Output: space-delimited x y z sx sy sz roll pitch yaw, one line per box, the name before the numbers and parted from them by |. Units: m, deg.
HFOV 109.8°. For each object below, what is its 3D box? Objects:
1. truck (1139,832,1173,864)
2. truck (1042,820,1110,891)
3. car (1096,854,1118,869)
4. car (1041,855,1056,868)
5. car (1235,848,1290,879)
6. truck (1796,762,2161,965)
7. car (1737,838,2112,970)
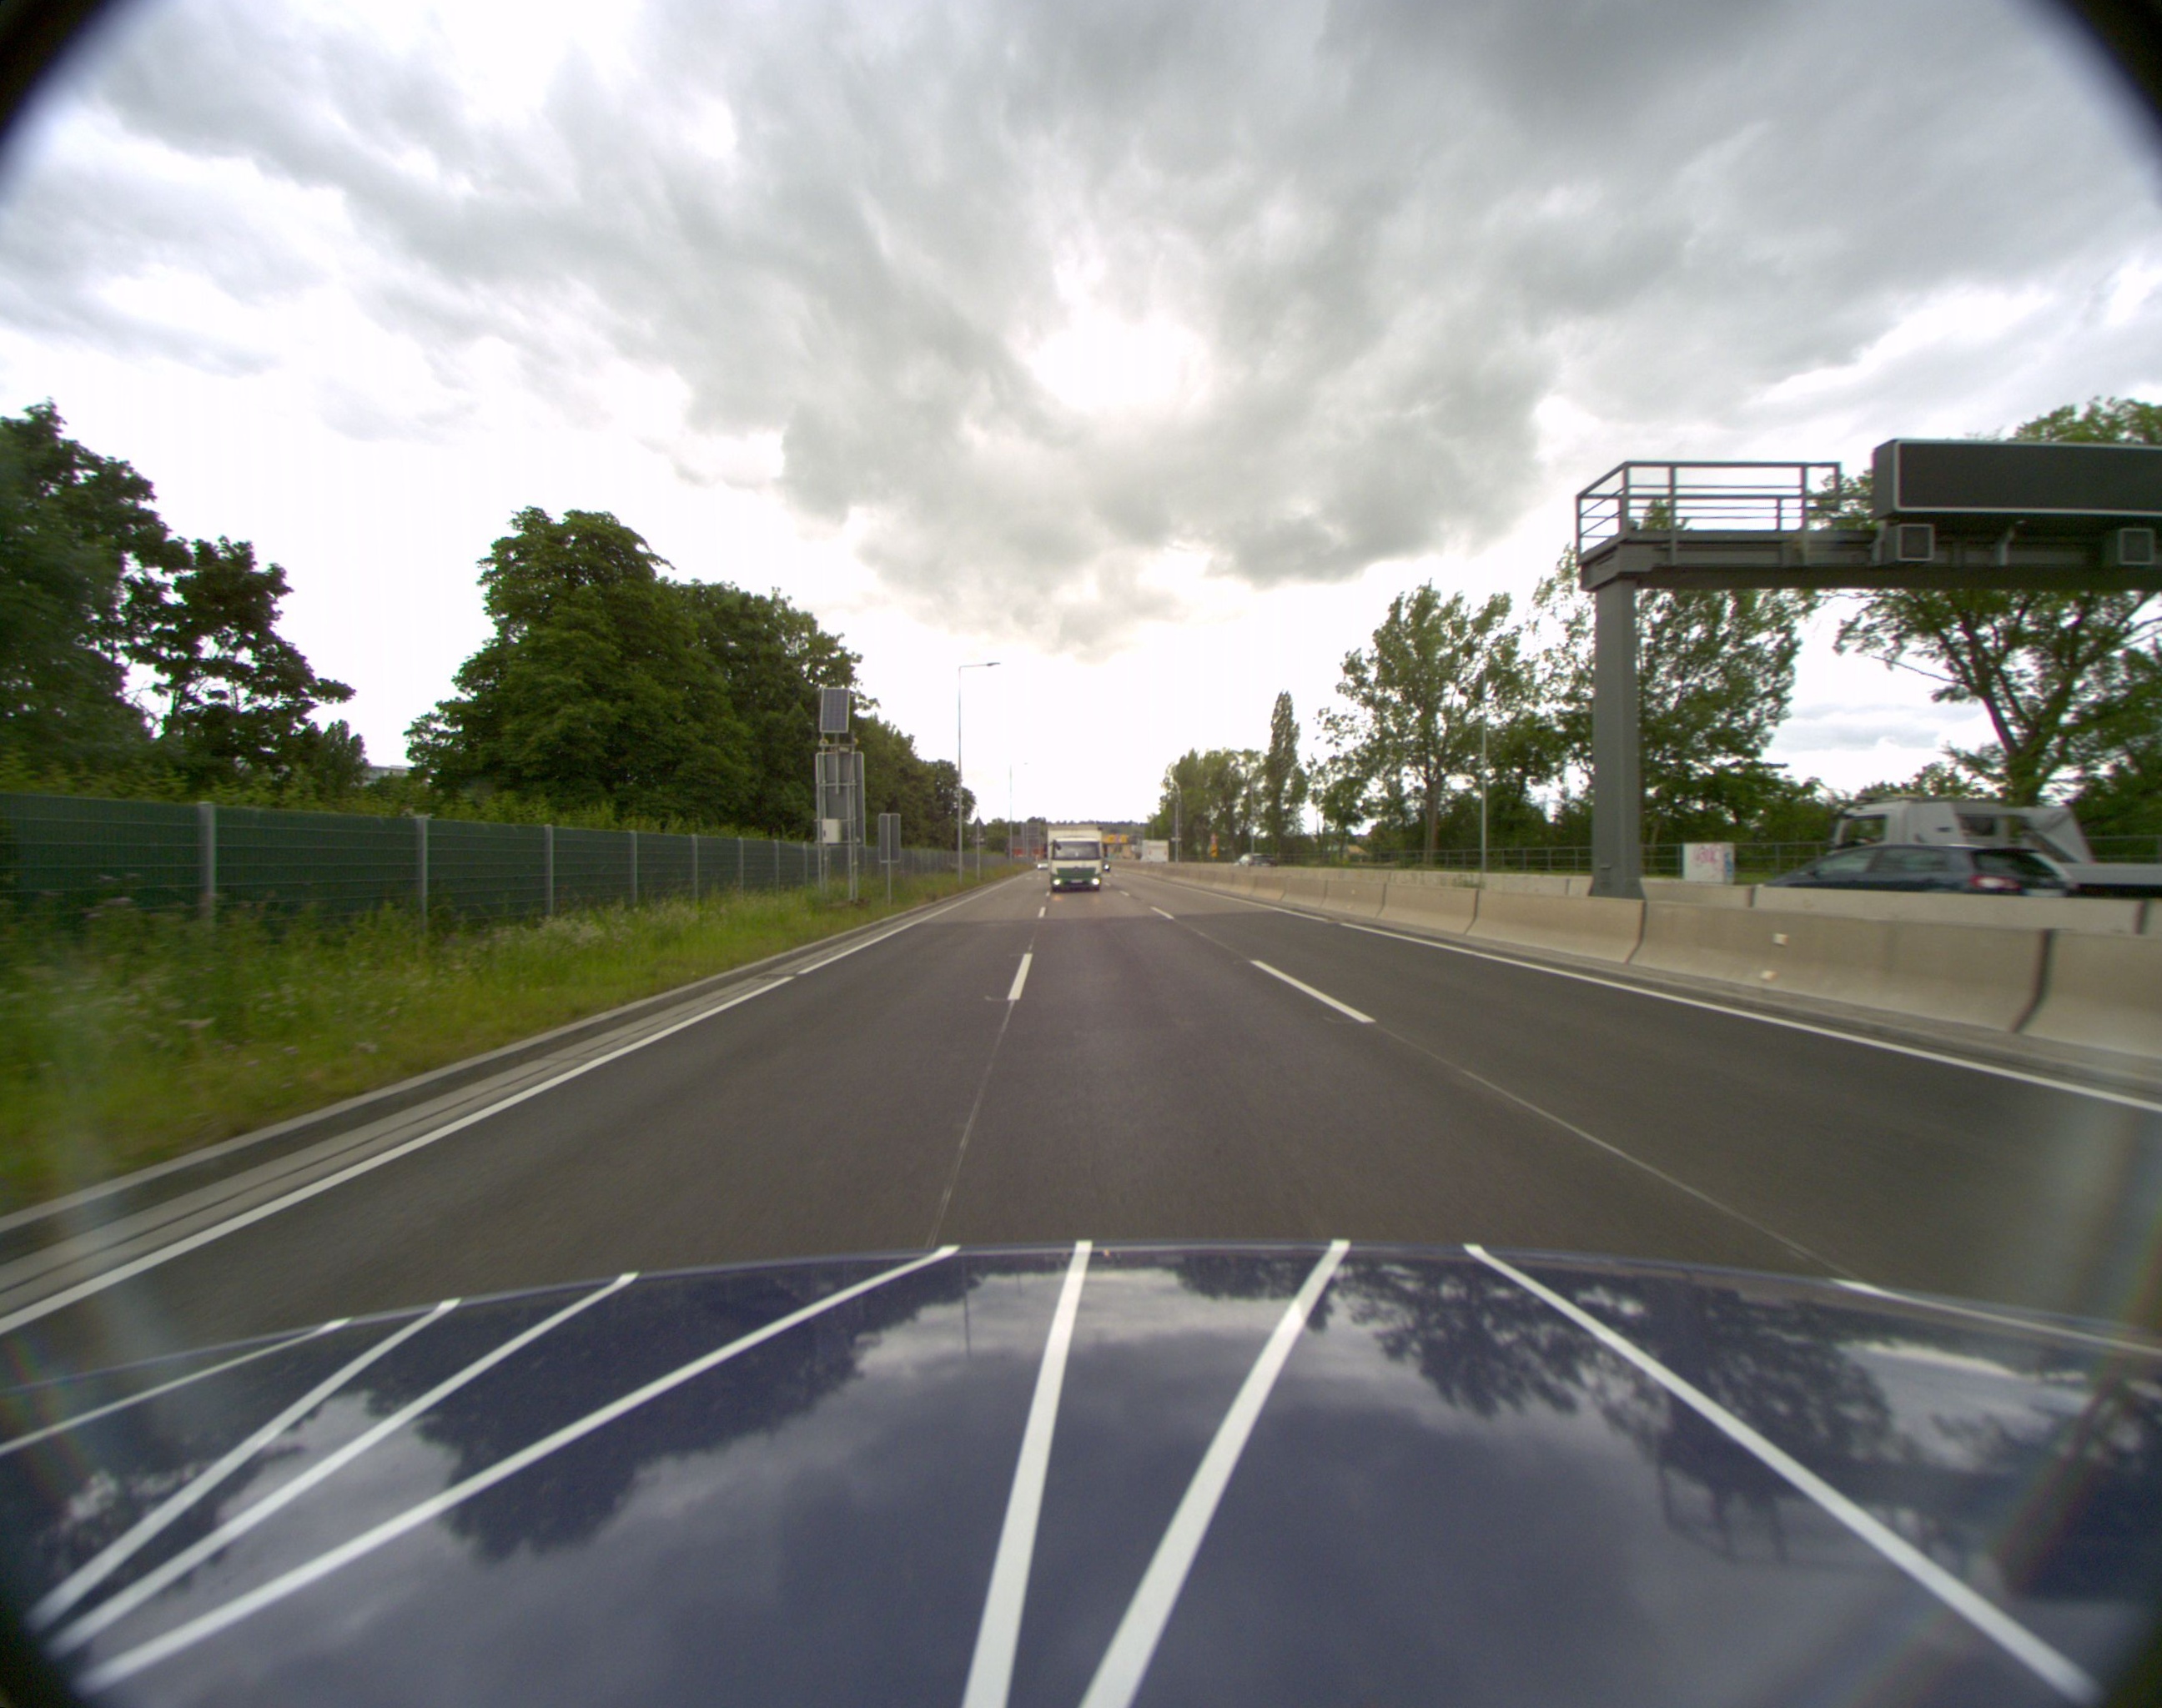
truck | 7.799 -0.540 79.832 2.410 3.089 7.200 -3 0 -2
truck | -0.374 0.101 38.194 2.943 3.064 8.385 -2 0 -2
car | 2.685 0.812 79.885 1.999 1.444 4.000 -3 0 -1
car | -4.855 1.092 113.497 1.999 1.849 3.999 -3 0 -2
car | 10.331 0.546 43.548 1.931 1.608 4.455 -3 0 -1
truck | 17.884 0.069 9.258 2.862 3.089 15.882 -3 0 -2
car | 14.203 0.746 13.237 1.821 1.866 4.099 -3 0 -3
